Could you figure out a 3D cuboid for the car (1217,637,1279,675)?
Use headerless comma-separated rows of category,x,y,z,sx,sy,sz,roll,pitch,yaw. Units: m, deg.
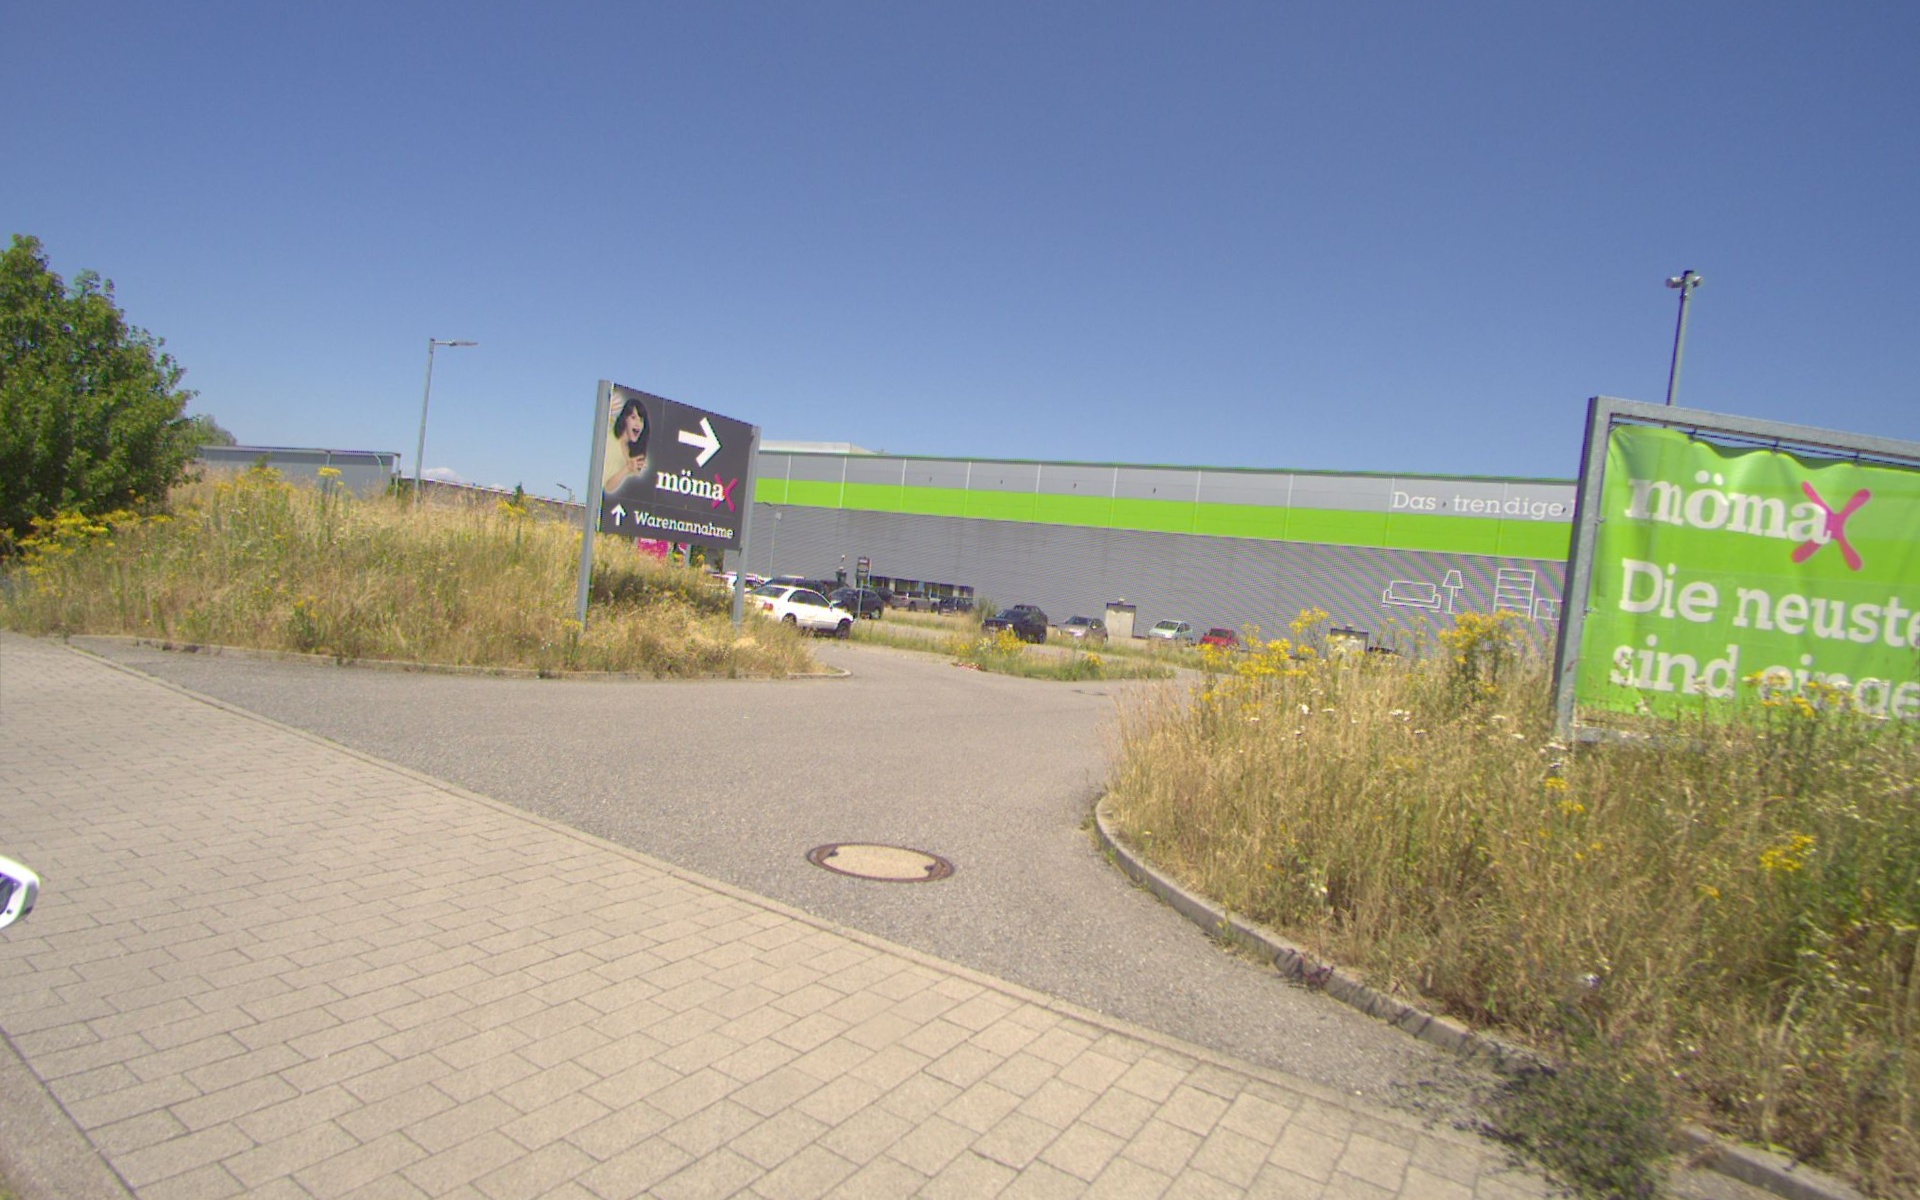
car,13.504,2.597,47.014,1.965,1.538,3.994,4,-1,27

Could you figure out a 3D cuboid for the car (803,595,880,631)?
car,-5.939,0.676,50.815,1.965,1.538,3.995,4,-1,26

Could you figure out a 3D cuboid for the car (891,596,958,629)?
car,-1.884,0.713,55.361,1.965,1.538,3.995,4,-1,26

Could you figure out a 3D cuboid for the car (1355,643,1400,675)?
car,23.136,3.258,55.676,1.965,1.538,3.995,4,-1,26

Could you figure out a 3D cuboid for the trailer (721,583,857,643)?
trailer,-4.967,0.426,29.774,1.734,1.415,3.993,5,-1,30

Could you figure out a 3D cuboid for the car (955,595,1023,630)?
car,1.532,0.671,51.929,1.965,1.538,3.995,4,-1,26

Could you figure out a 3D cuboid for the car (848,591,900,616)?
car,-6.285,0.286,74.234,1.965,1.538,3.995,4,-1,26

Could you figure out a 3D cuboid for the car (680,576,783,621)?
car,-9.250,-0.032,40.952,1.911,1.461,3.740,5,-1,32

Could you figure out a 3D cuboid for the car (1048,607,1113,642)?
car,6.090,1.269,50.366,1.965,1.538,3.995,4,-1,26

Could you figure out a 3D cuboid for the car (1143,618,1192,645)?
car,12.873,1.976,62.215,1.965,1.493,3.995,4,-1,26

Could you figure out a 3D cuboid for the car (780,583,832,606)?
car,-11.794,-0.403,77.438,1.965,1.538,3.995,4,-1,26

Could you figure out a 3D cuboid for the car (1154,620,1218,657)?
car,10.700,1.837,47.413,1.965,1.538,3.995,4,-1,26

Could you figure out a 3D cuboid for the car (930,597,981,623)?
car,-0.288,0.735,71.349,1.965,1.538,3.995,4,-1,26

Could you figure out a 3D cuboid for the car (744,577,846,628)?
car,-6.450,0.123,39.645,1.859,1.589,3.740,5,-1,32

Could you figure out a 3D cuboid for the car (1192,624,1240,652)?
car,15.521,2.319,60.895,1.965,1.538,3.995,4,-1,26

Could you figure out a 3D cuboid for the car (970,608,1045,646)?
car,2.224,1.257,45.976,1.965,1.493,3.995,4,-1,26

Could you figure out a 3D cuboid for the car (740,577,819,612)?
car,-9.547,-0.267,53.604,1.967,1.538,3.991,4,-1,30

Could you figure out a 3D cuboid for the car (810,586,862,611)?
car,-9.353,-0.098,75.975,1.965,1.538,3.995,4,-1,26

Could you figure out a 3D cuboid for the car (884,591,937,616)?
car,-3.554,0.278,72.855,1.967,1.538,3.991,4,-1,30
